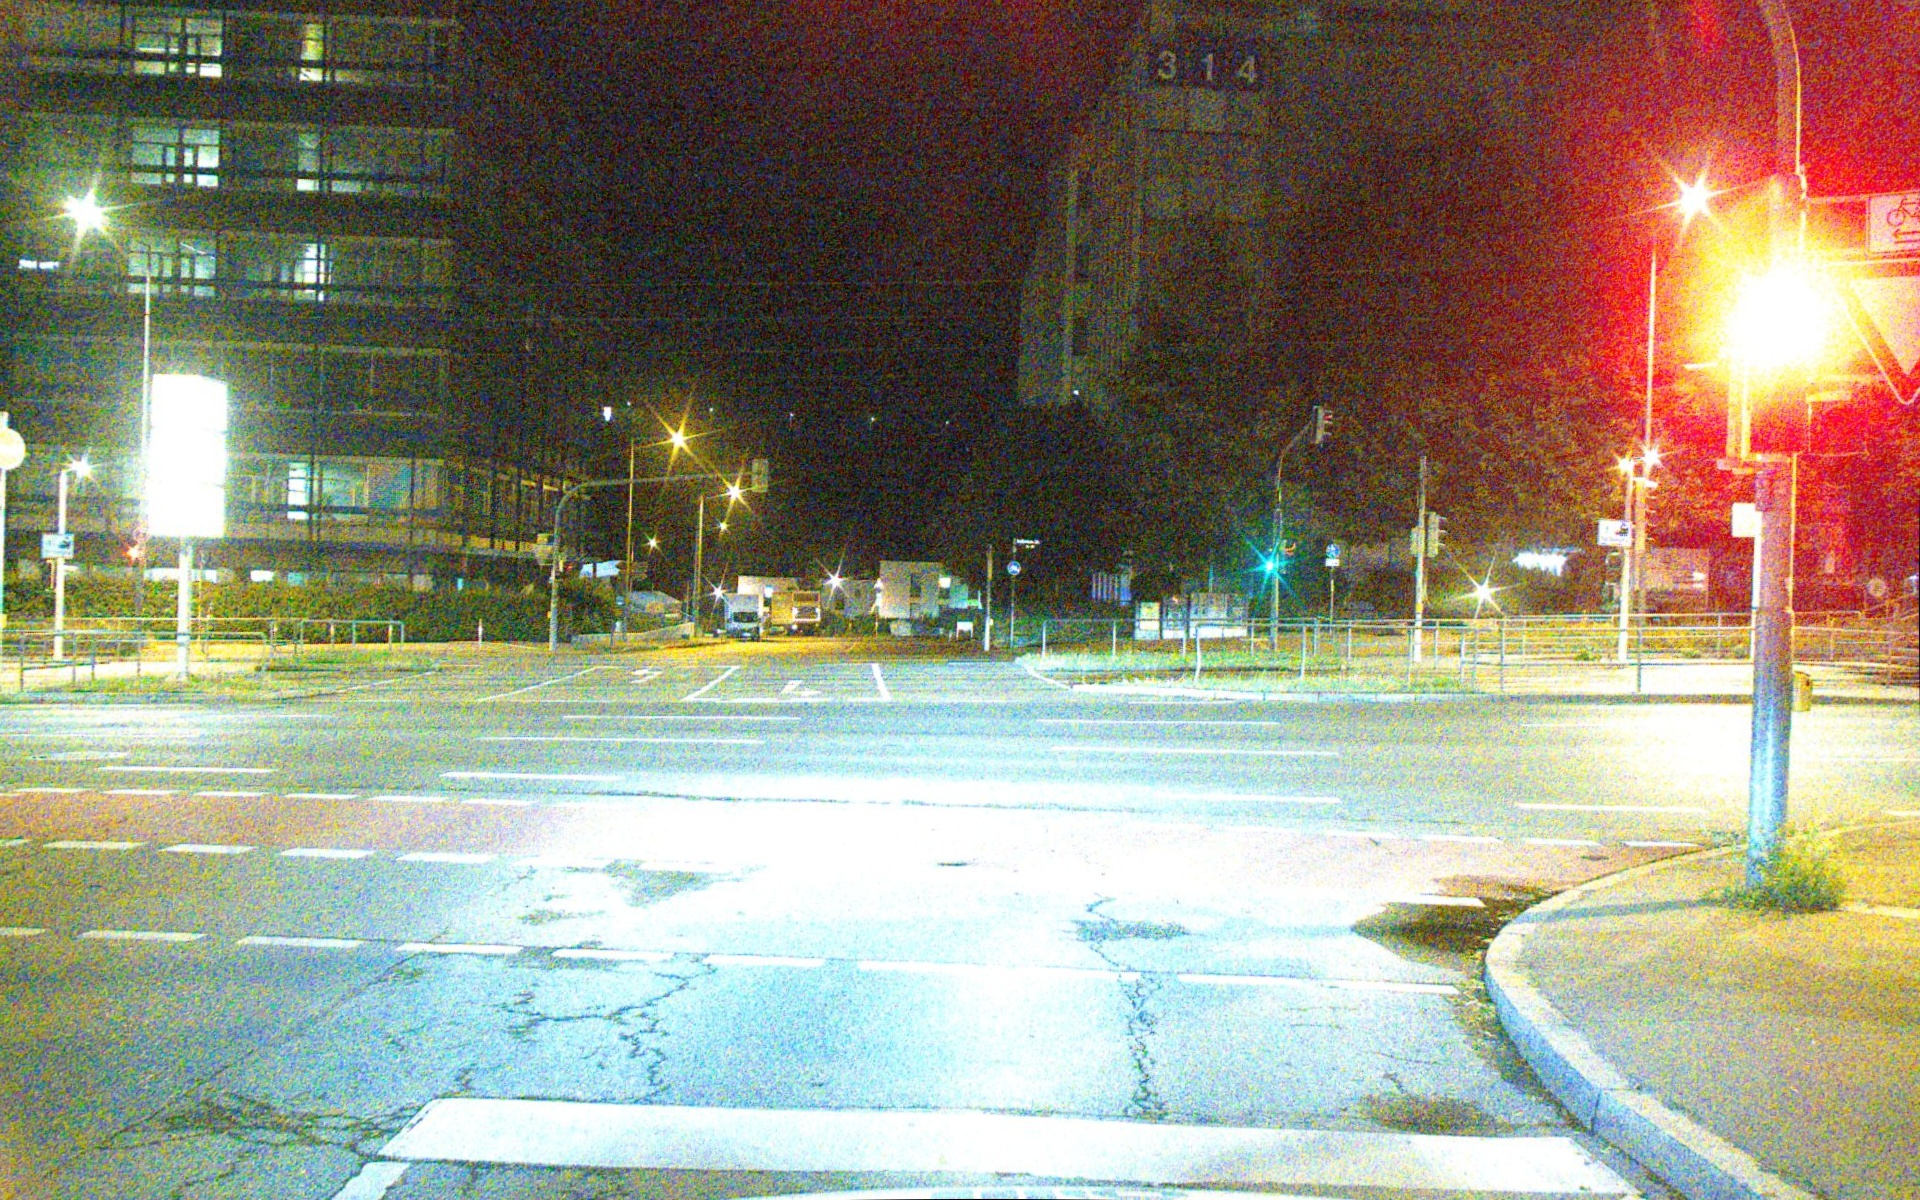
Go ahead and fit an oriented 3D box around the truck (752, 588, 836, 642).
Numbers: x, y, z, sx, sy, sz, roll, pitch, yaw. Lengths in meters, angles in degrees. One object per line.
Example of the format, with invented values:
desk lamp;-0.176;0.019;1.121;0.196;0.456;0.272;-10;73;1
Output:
truck;-15.307;1.301;150.985;4.751;4.627;12.593;1;0;-19

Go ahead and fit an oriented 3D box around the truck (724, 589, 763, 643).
truck;-15.634;1.137;119.091;2.535;3.772;5.724;1;0;-9
